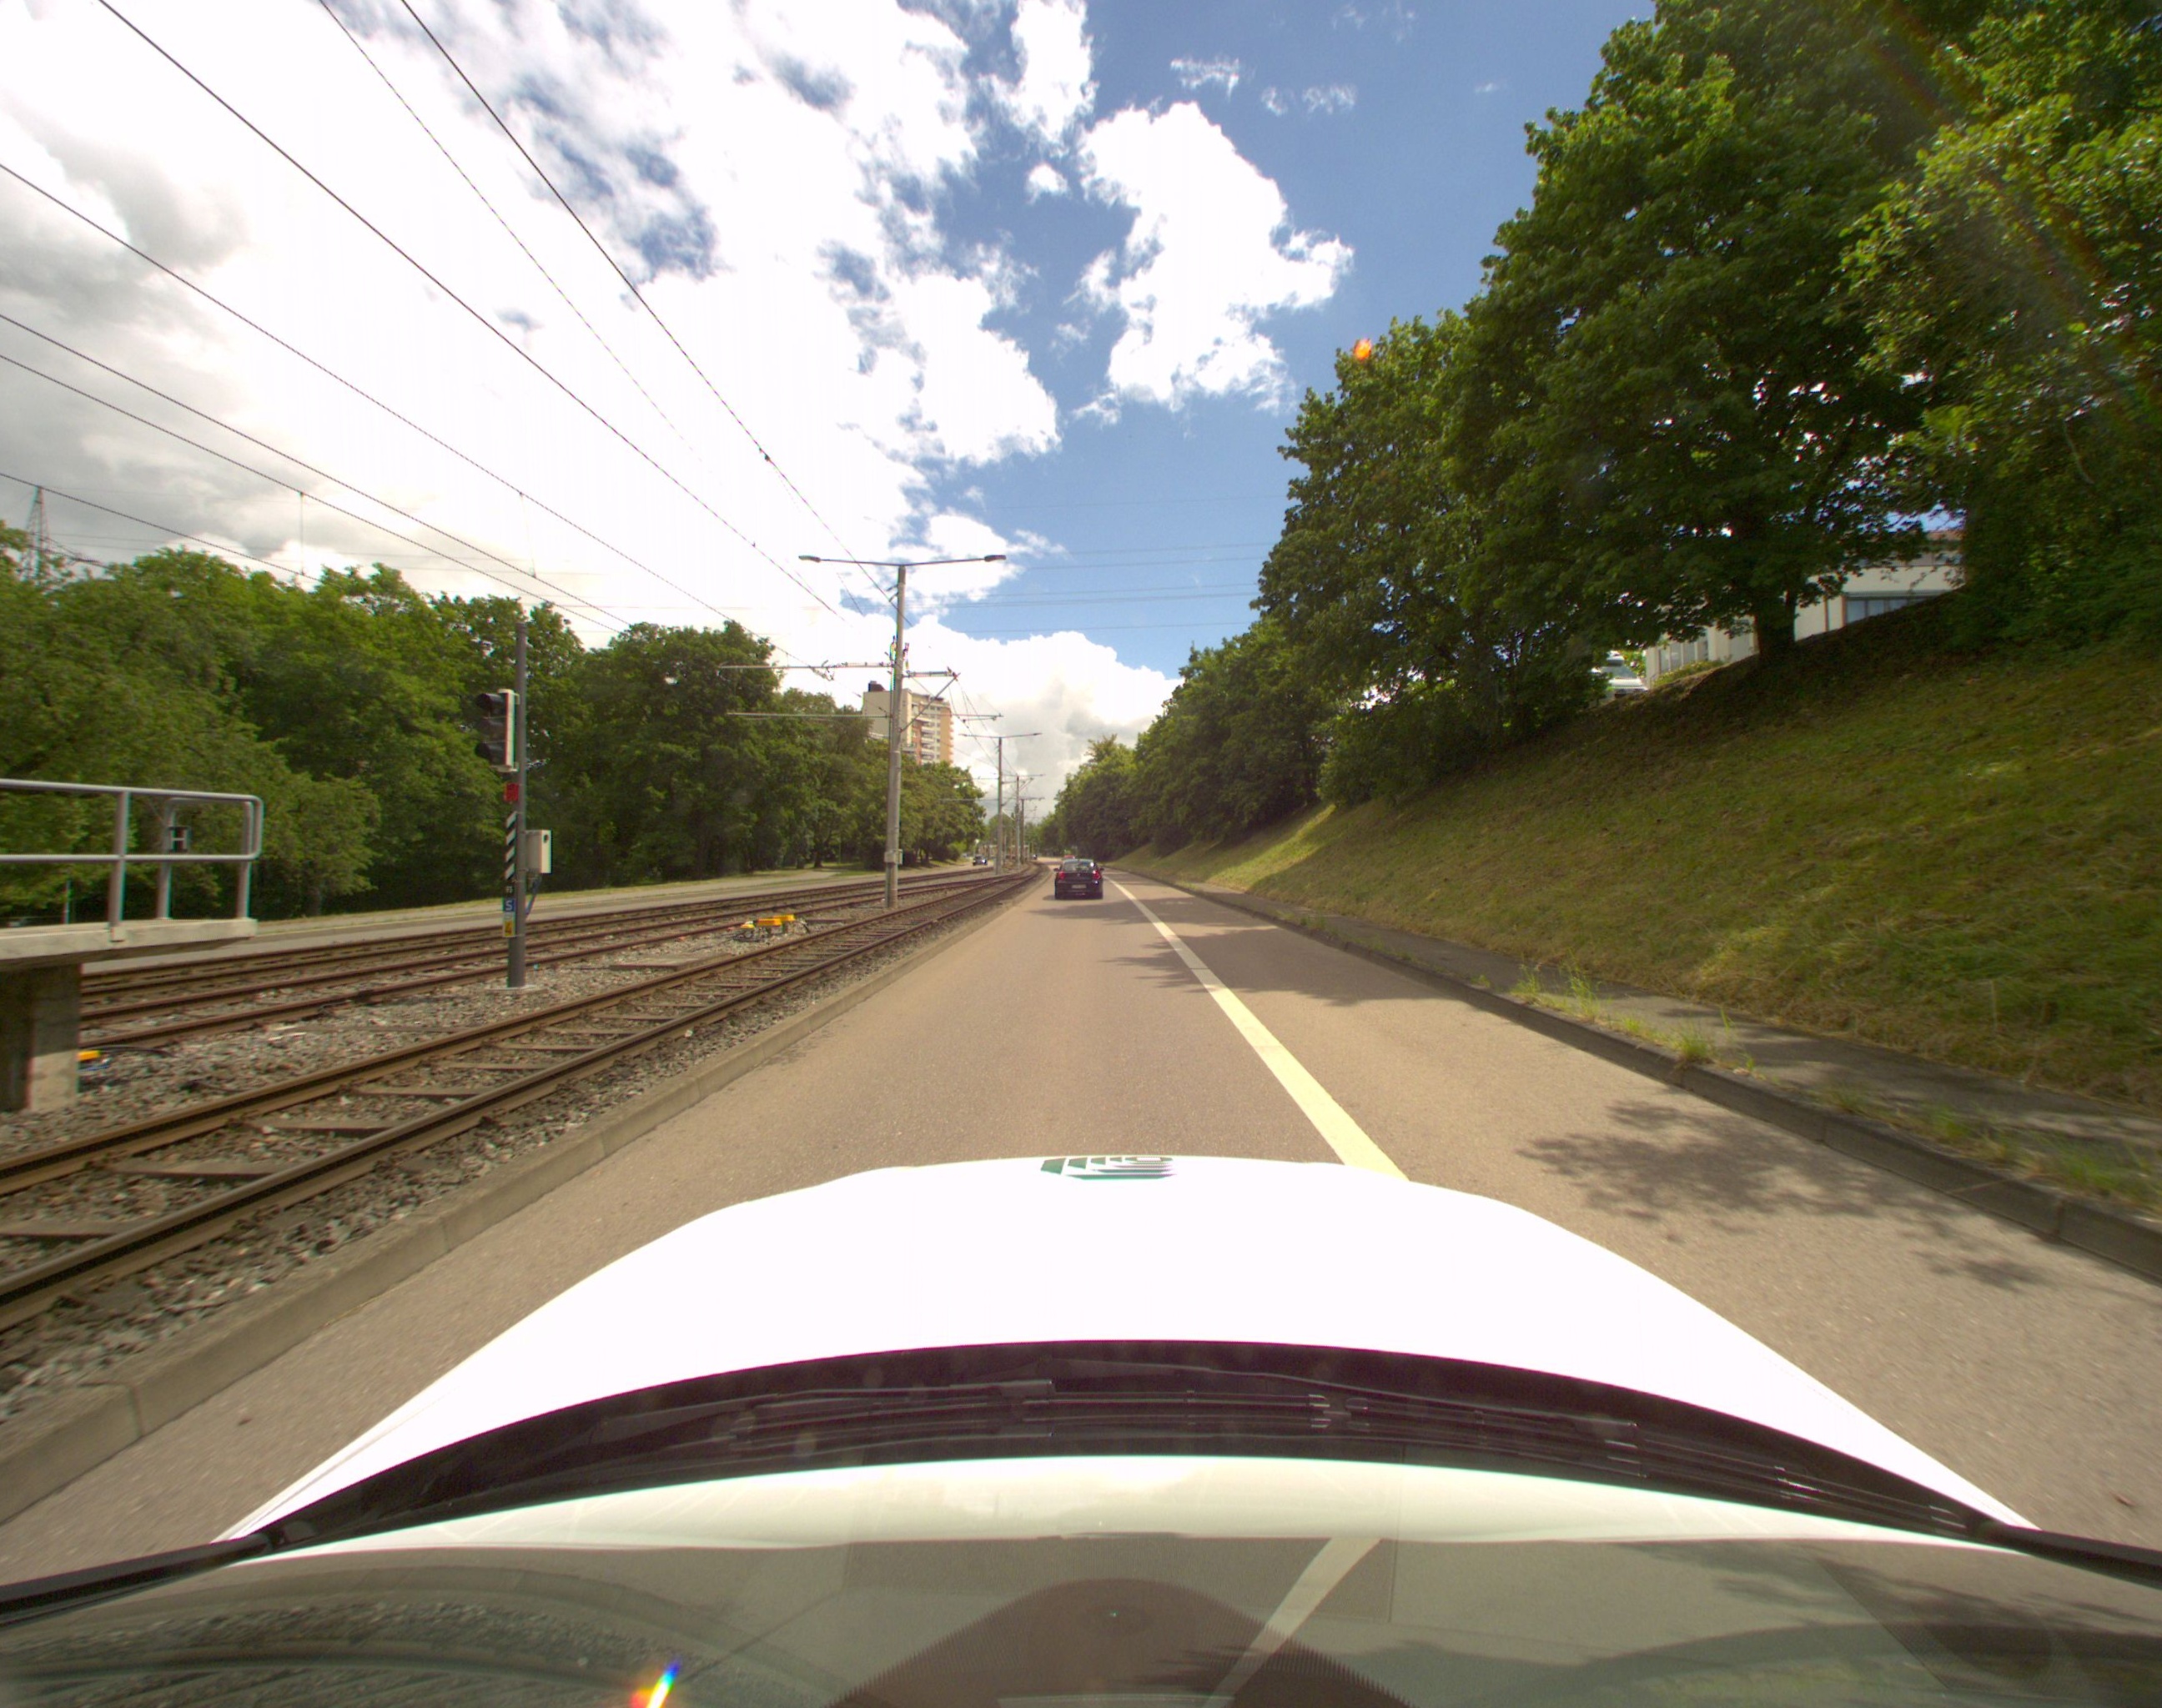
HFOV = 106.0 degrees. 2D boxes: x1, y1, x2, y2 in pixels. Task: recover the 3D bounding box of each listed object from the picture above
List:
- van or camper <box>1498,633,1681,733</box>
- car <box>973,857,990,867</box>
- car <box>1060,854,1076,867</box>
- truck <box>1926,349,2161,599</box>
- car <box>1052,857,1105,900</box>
[{"bbox_3d":[16.916,-5.614,27.647,2.211,2.069,6.157,-1,0,-2],"label":"van or camper"},{"bbox_3d":[-14.417,1.137,117.751,1.830,1.391,4.861,-2,0,0],"label":"car"},{"bbox_3d":[-1.605,0.781,98.267,1.777,1.459,3.916,0,0,-3],"label":"car"},{"bbox_3d":[17.254,-6.192,11.940,2.343,2.658,7.036,-1,0,-1],"label":"truck"},{"bbox_3d":[-0.159,0.847,29.922,1.777,1.459,3.918,-1,0,-2],"label":"car"}]
